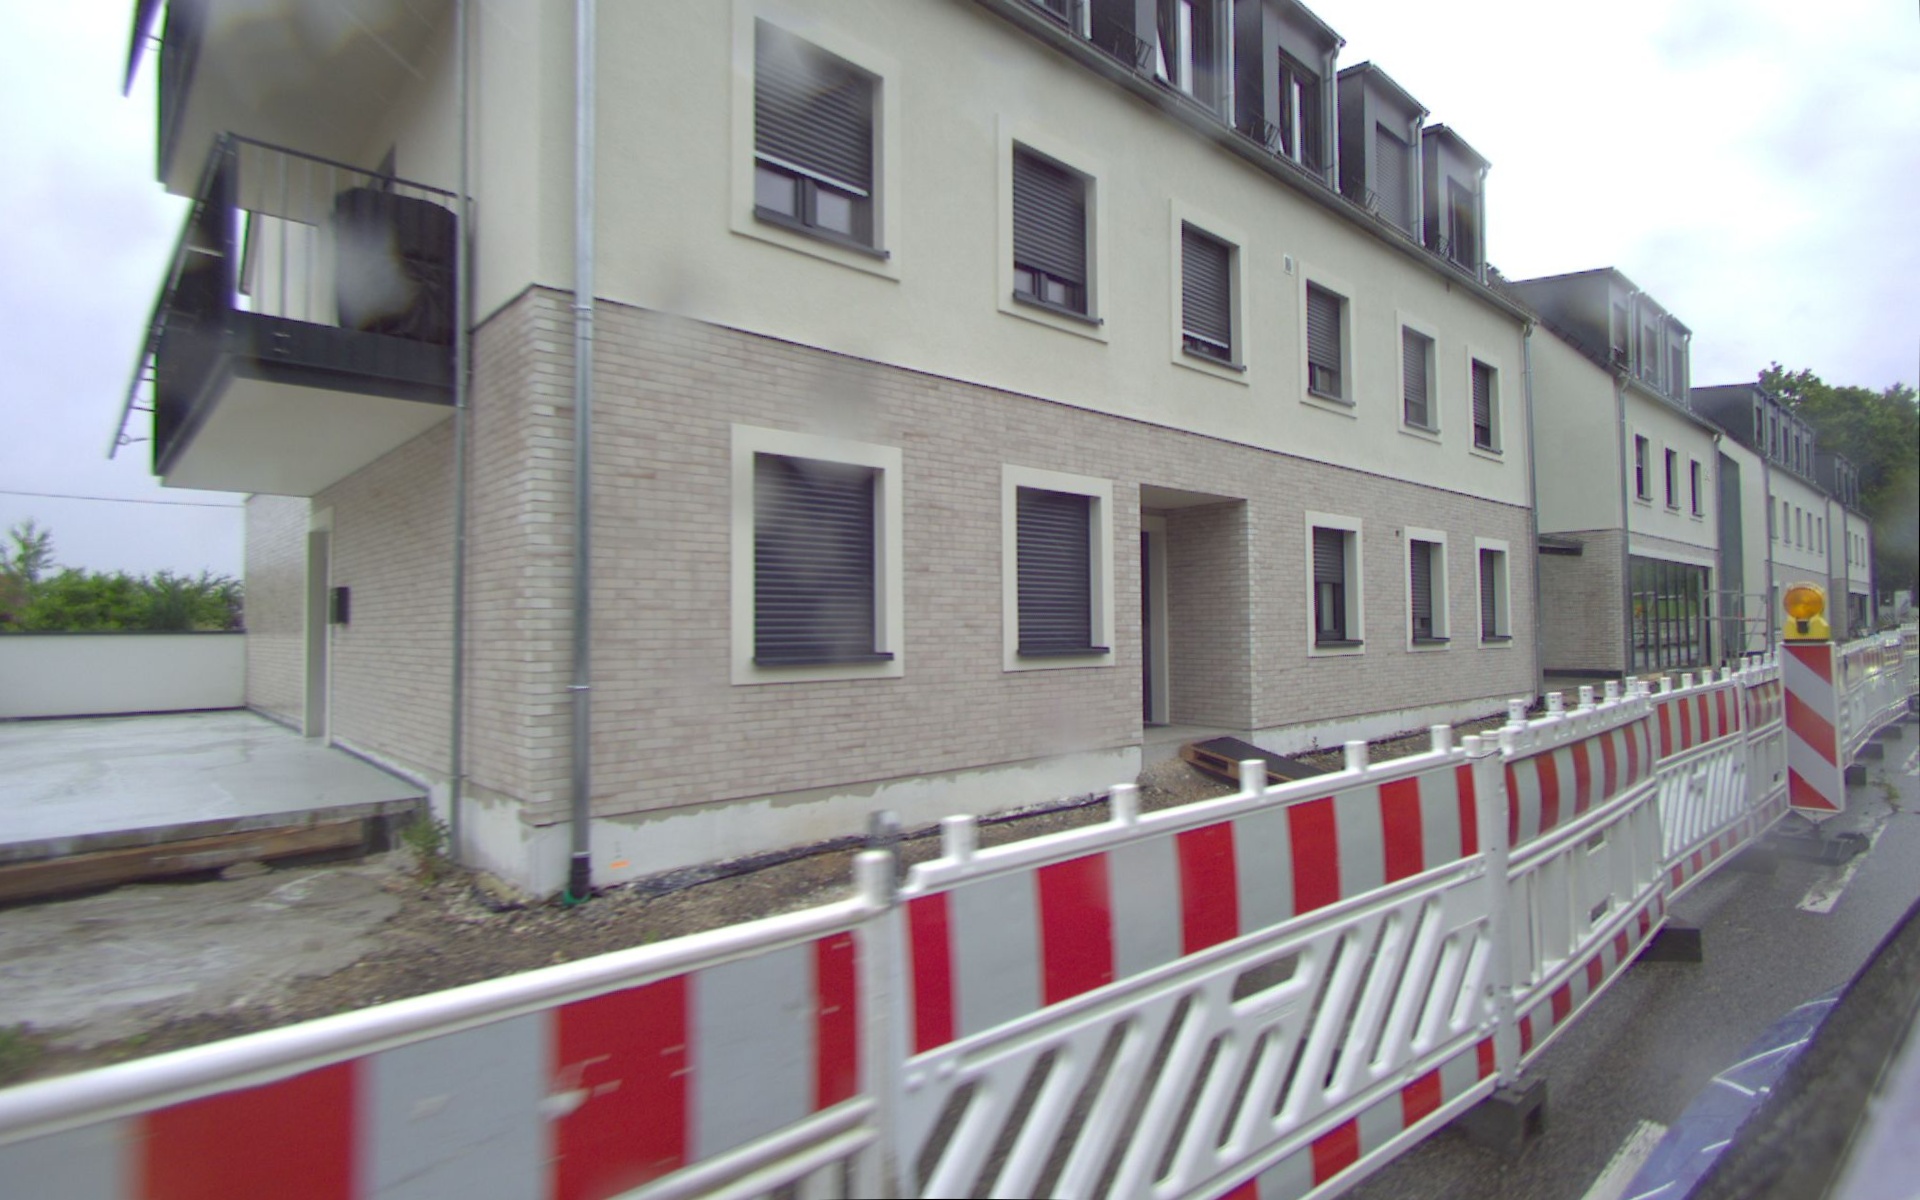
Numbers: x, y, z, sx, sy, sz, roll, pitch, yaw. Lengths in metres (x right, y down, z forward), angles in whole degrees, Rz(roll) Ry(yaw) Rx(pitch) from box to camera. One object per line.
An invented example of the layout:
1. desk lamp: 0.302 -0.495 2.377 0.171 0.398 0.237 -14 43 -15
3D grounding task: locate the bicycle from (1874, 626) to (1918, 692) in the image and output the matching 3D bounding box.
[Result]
1. bicycle: 15.939 0.983 17.221 1.200 1.042 0.406 0 -1 -41

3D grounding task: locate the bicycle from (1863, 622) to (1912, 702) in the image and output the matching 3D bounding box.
1. bicycle: 14.371 0.942 15.678 1.200 1.158 0.406 0 -1 -41
